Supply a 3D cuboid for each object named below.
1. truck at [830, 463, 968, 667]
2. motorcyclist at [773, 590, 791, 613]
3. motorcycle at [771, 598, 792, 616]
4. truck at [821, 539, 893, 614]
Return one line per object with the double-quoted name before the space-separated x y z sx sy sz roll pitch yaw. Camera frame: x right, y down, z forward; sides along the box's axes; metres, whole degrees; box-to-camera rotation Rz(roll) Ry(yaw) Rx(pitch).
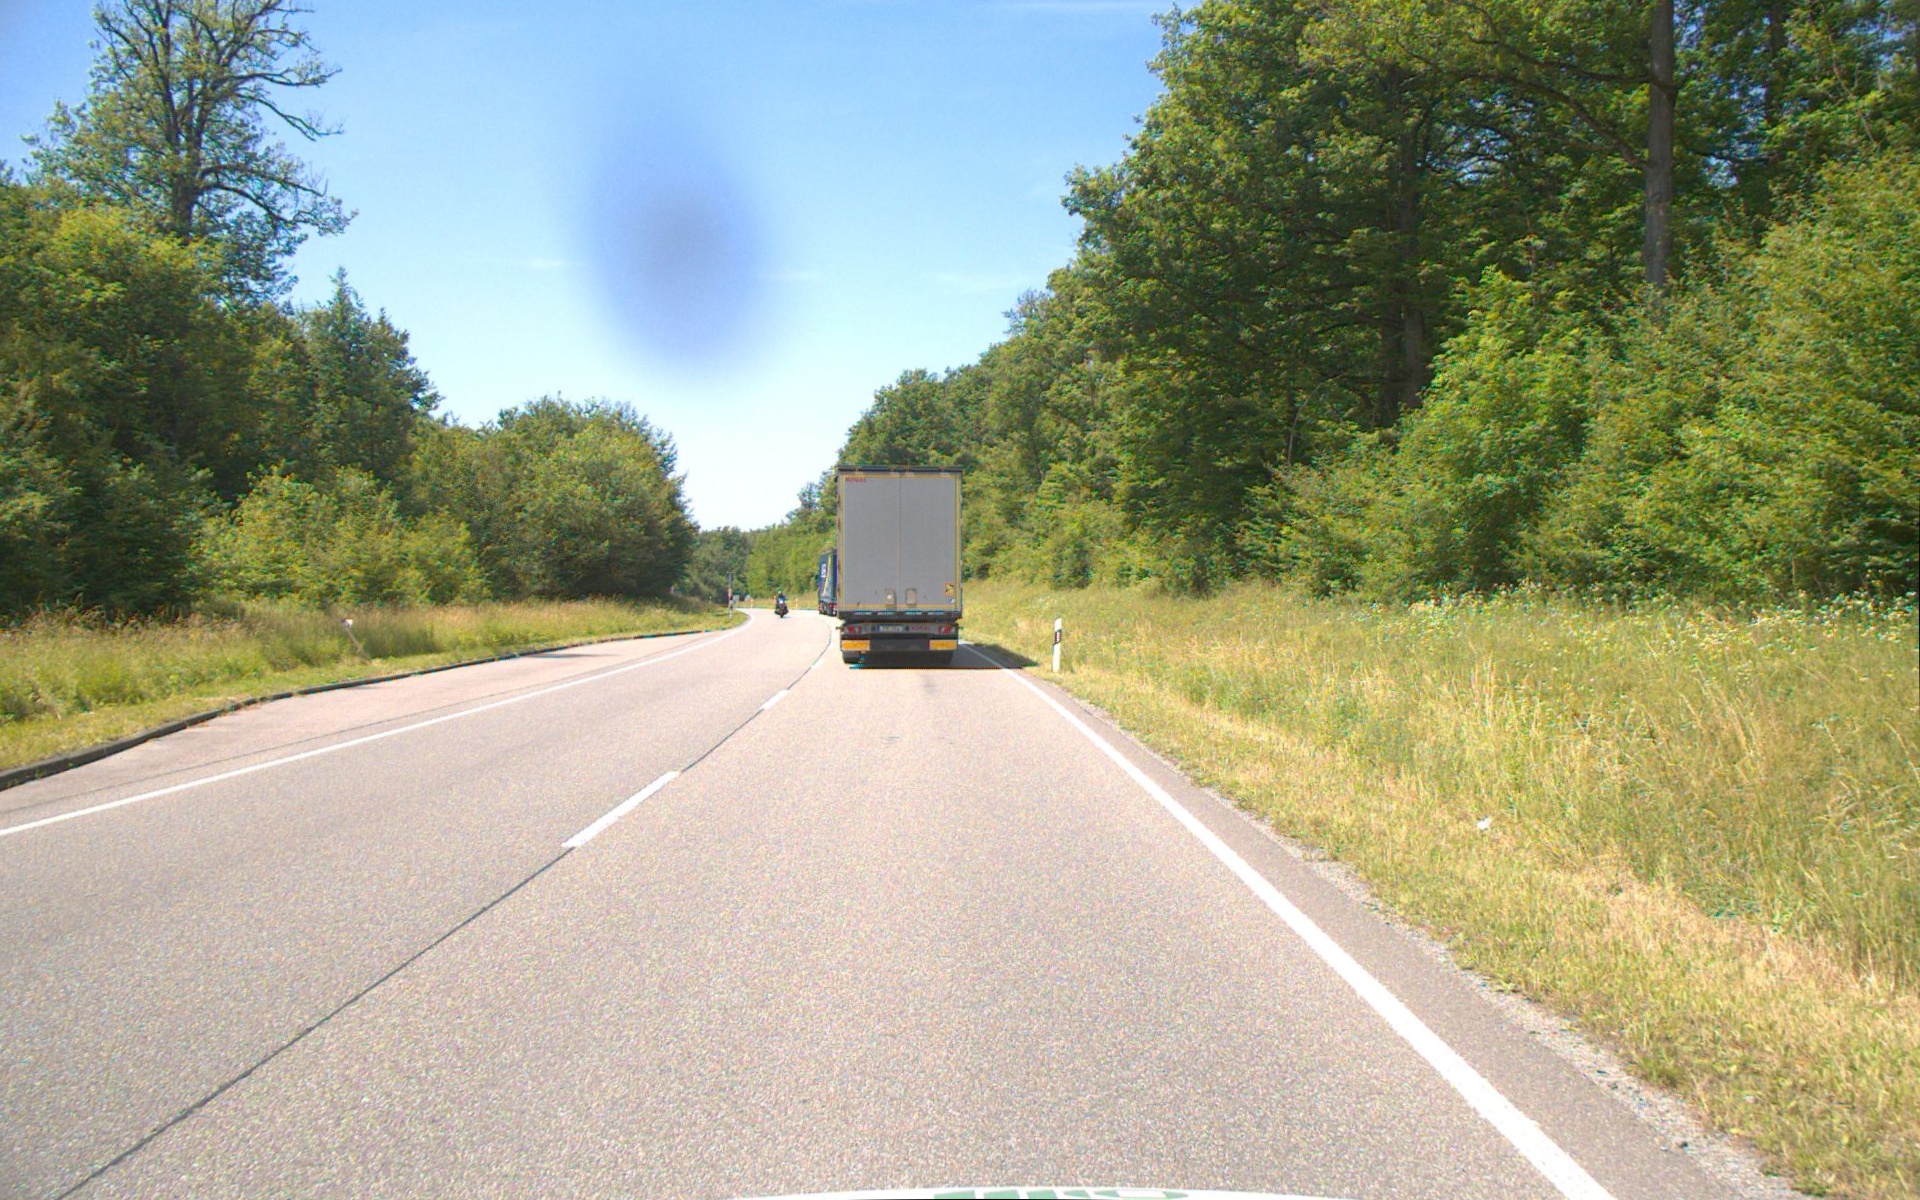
"truck" -1.437 -0.706 38.900 2.706 4.016 12.192 0 0 -2
"motorcyclist" -10.780 0.081 99.995 0.989 1.350 0.965 0 0 -1
"motorcycle" -10.782 0.413 100.025 0.993 1.081 2.772 -1 0 0
"truck" -6.792 -1.457 106.885 3.721 4.449 14.897 1 0 -7
